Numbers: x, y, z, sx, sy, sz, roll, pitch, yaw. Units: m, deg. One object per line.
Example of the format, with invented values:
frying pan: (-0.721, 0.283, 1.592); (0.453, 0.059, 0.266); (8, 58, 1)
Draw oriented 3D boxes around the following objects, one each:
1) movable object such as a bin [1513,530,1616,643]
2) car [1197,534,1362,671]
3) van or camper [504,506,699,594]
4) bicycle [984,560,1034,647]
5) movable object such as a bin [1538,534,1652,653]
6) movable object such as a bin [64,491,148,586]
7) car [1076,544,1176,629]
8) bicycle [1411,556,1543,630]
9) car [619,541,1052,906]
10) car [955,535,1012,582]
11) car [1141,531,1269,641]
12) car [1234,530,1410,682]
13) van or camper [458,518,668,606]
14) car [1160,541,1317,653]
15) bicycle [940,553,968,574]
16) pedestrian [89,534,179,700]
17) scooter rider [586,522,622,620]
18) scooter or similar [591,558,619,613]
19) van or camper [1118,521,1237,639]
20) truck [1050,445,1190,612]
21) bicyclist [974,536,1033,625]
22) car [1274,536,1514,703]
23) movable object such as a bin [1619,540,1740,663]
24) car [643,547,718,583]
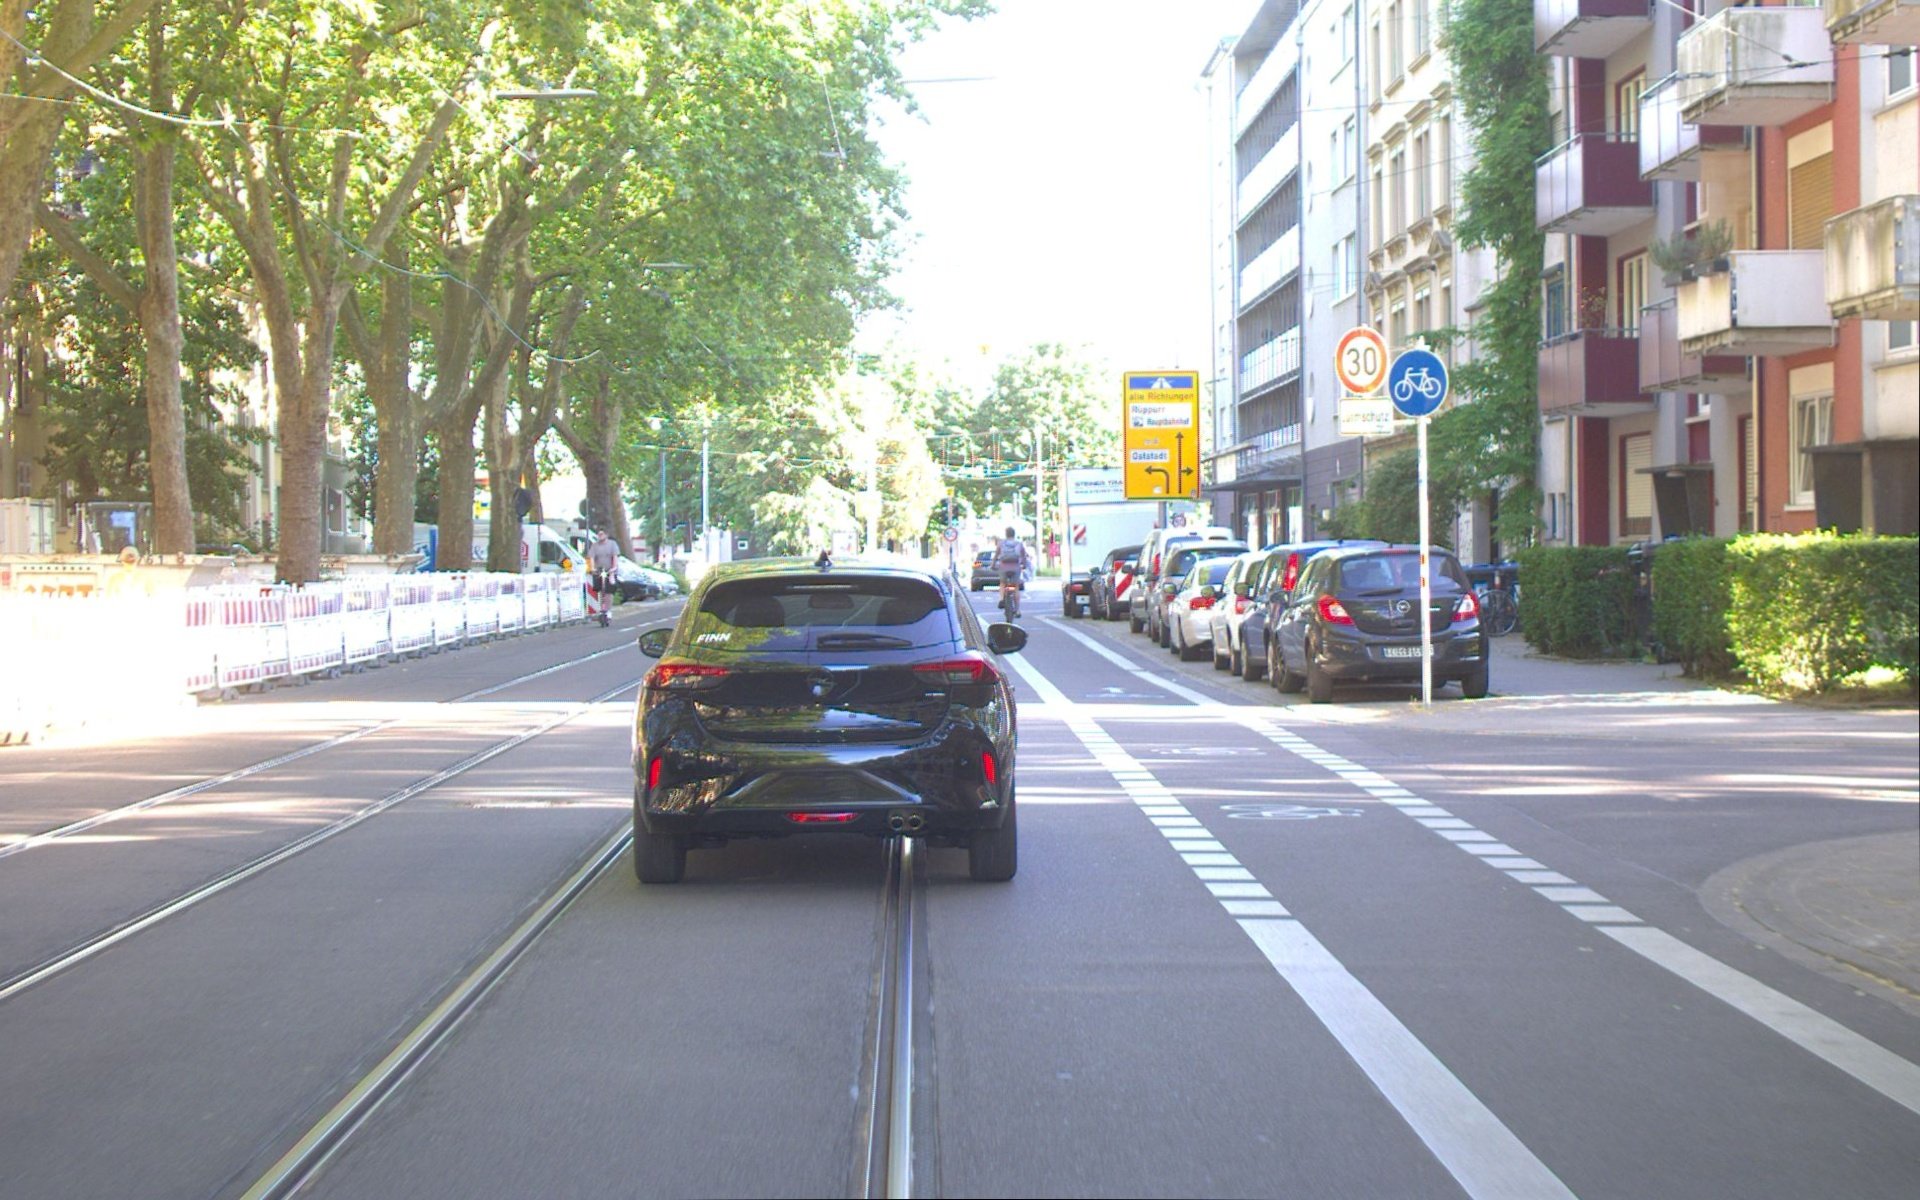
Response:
movable object such as a bin: (7.216, -0.166, 41.119); (0.923, 1.322, 1.682); (1, 1, 0)
car: (3.849, 0.010, 41.914); (1.591, 1.521, 3.835); (-2, 1, 0)
van or camper: (-10.954, -1.530, 105.466); (5.723, 2.635, 2.269); (1, 0, 0)
bicycle: (0.917, 0.044, 64.703); (0.916, 1.555, 3.405); (0, 1, 0)
movable object such as a bin: (7.252, -0.079, 39.329); (0.967, 1.322, 1.721); (1, 1, 0)
movable object such as a bin: (-15.129, -1.088, 60.963); (1.097, 1.640, 1.560); (1, 1, -1)
car: (3.291, -0.288, 68.803); (1.731, 1.552, 4.152); (-3, 1, 0)
bicycle: (7.762, -0.111, 51.658); (1.894, 1.026, 0.476); (-2, 1, 5)
car: (-0.548, 0.476, 16.178); (1.781, 1.491, 4.000); (0, 1, -1)
car: (0.883, -1.589, 130.632); (1.993, 1.690, 4.740); (-2, 1, -1)
car: (3.718, -0.244, 52.716); (1.660, 1.575, 3.589); (-2, 1, 0)
car: (3.941, 0.042, 37.907); (1.526, 1.584, 3.752); (1, 1, 0)
van or camper: (-11.058, -1.062, 96.020); (5.502, 2.371, 2.269); (1, 1, 3)
car: (3.814, -0.081, 47.731); (1.659, 1.394, 4.740); (-2, 1, -1)
bicycle: (-0.285, -1.761, 165.479); (0.789, 0.988, 2.241); (1, 1, 16)
pedestrian: (-8.415, 0.171, 35.025); (0.716, 1.663, 0.779); (1, 0, 0)
scooter rider: (-7.184, -0.588, 69.402); (0.649, 1.950, 0.624); (1, 0, 0)
scooter or similar: (-7.165, -0.298, 69.451); (0.407, 1.079, 1.338); (1, 1, 0)
van or camper: (3.610, -0.365, 57.680); (1.669, 1.876, 4.211); (-2, 1, 0)
truck: (3.415, -1.528, 74.868); (2.538, 3.326, 7.195); (-3, 1, 0)
bicyclist: (0.815, -0.376, 64.556); (1.089, 1.641, 1.400); (0, 1, 1)
car: (4.171, 0.146, 33.589); (1.733, 1.457, 3.916); (-2, 1, -1)
movable object such as a bin: (7.932, 0.012, 37.926); (1.152, 1.322, 0.775); (1, 0, 0)
car: (-14.221, -1.760, 174.968); (1.917, 1.690, 4.322); (-3, 1, -33)
